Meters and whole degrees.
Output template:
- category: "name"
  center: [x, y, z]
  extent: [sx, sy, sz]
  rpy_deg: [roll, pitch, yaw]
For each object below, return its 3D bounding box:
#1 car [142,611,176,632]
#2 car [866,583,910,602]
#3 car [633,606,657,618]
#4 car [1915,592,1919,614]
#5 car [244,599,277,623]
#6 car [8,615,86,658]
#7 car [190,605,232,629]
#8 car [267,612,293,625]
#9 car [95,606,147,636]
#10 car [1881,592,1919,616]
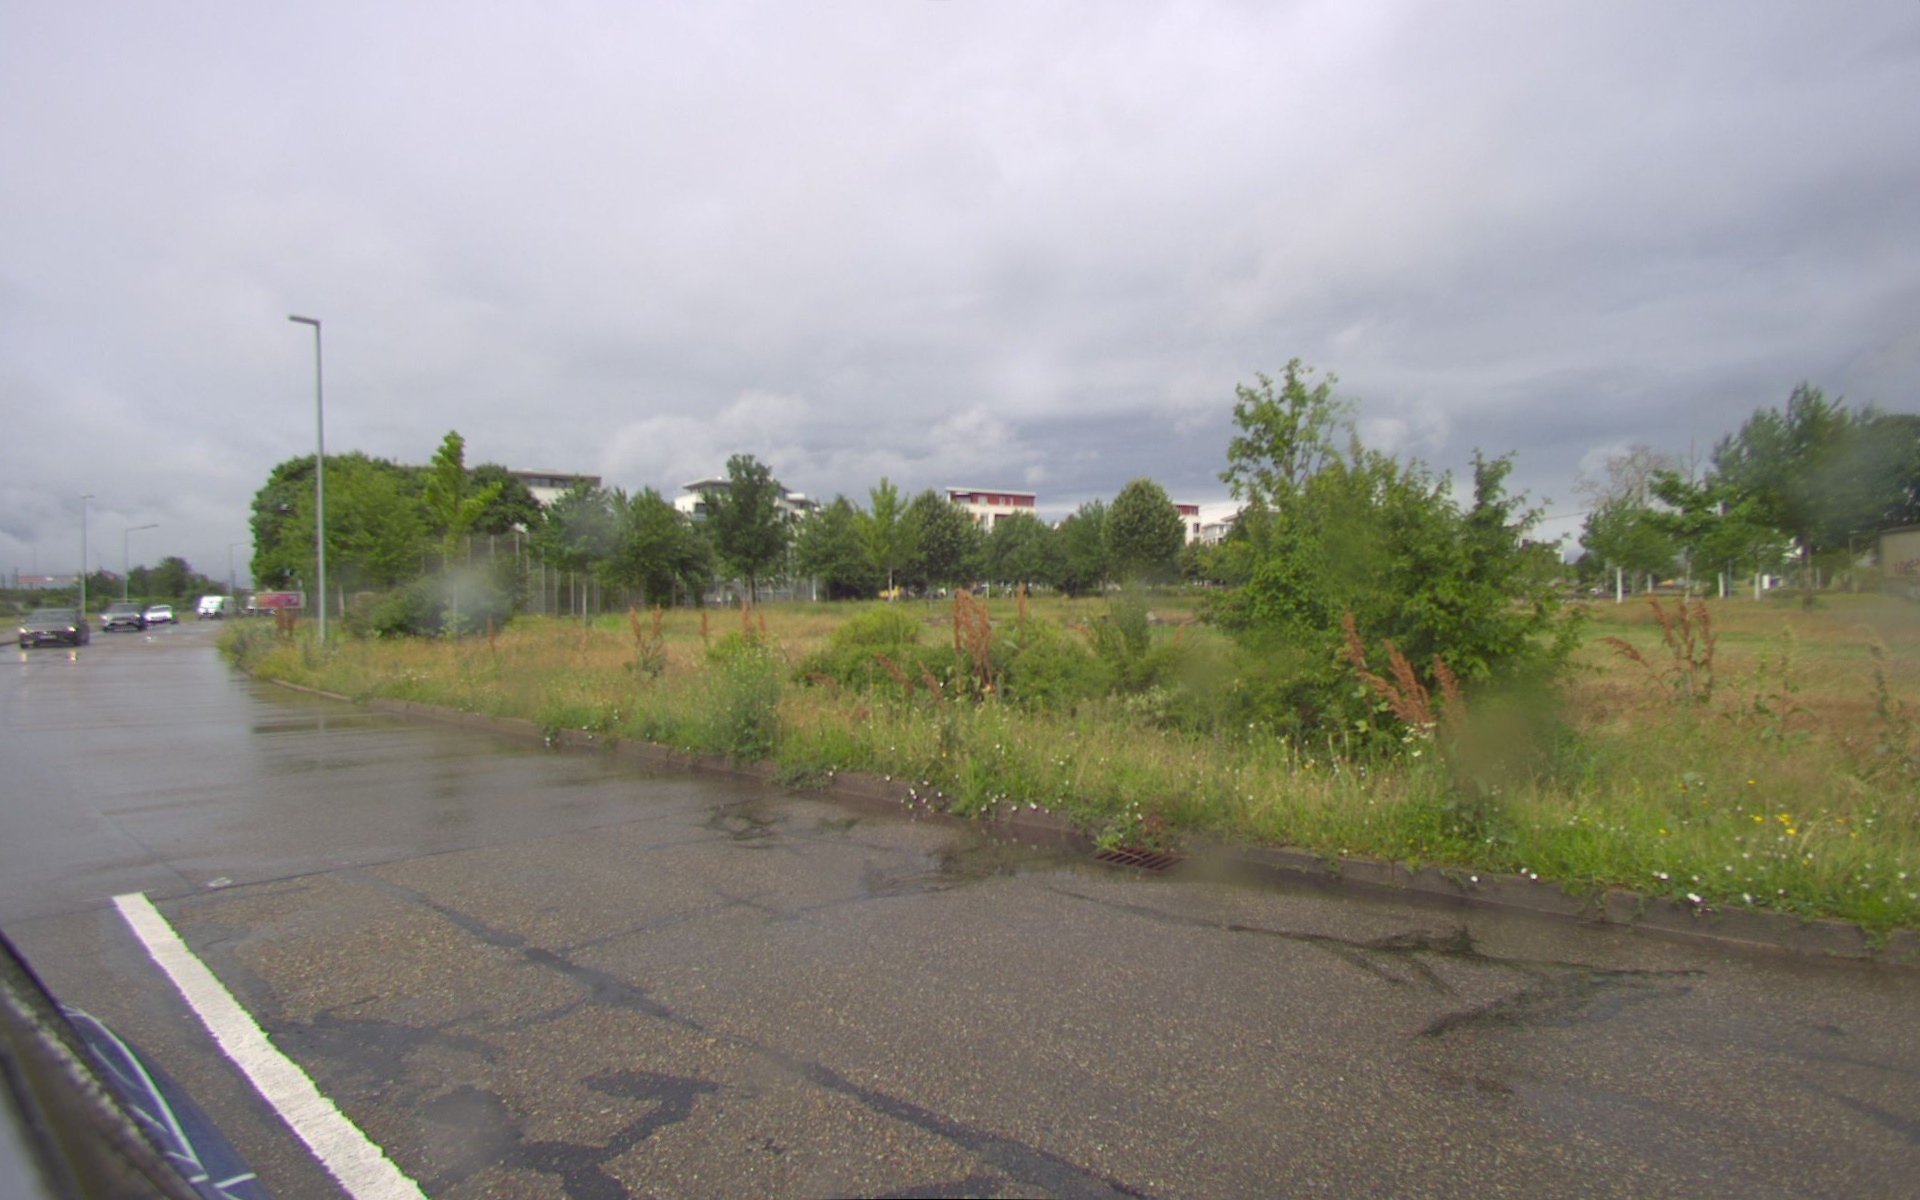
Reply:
- category: "car"
  center: [-63.345, 1.673, 80.081]
  extent: [1.812, 1.530, 4.368]
  rpy_deg: [-1, 0, -35]
- category: "car"
  center: [-11.070, -1.145, 156.427]
  extent: [6.530, 2.633, 1.972]
  rpy_deg: [-3, 2, -33]
- category: "car"
  center: [-41.645, 1.546, 133.840]
  extent: [1.617, 1.406, 4.194]
  rpy_deg: [-4, 2, -38]
- category: "car"
  center: [66.465, 0.207, 68.117]
  extent: [1.988, 1.564, 3.967]
  rpy_deg: [-1, 0, 24]
- category: "car"
  center: [-86.220, 1.352, 124.798]
  extent: [2.114, 2.905, 5.293]
  rpy_deg: [2, -1, -22]
- category: "car"
  center: [-35.520, 1.387, 39.459]
  extent: [1.844, 1.530, 4.367]
  rpy_deg: [1, -1, -37]
- category: "car"
  center: [-80.031, 1.754, 108.220]
  extent: [2.062, 2.491, 5.967]
  rpy_deg: [0, 0, -20]
- category: "car"
  center: [-80.995, 2.176, 120.584]
  extent: [1.811, 1.530, 4.372]
  rpy_deg: [-1, 0, -22]
- category: "car"
  center: [-50.554, 1.218, 61.048]
  extent: [1.978, 1.718, 4.340]
  rpy_deg: [-1, 0, -35]
- category: "car"
  center: [69.376, 0.287, 73.889]
  extent: [1.988, 1.719, 3.967]
  rpy_deg: [-1, 0, 25]
